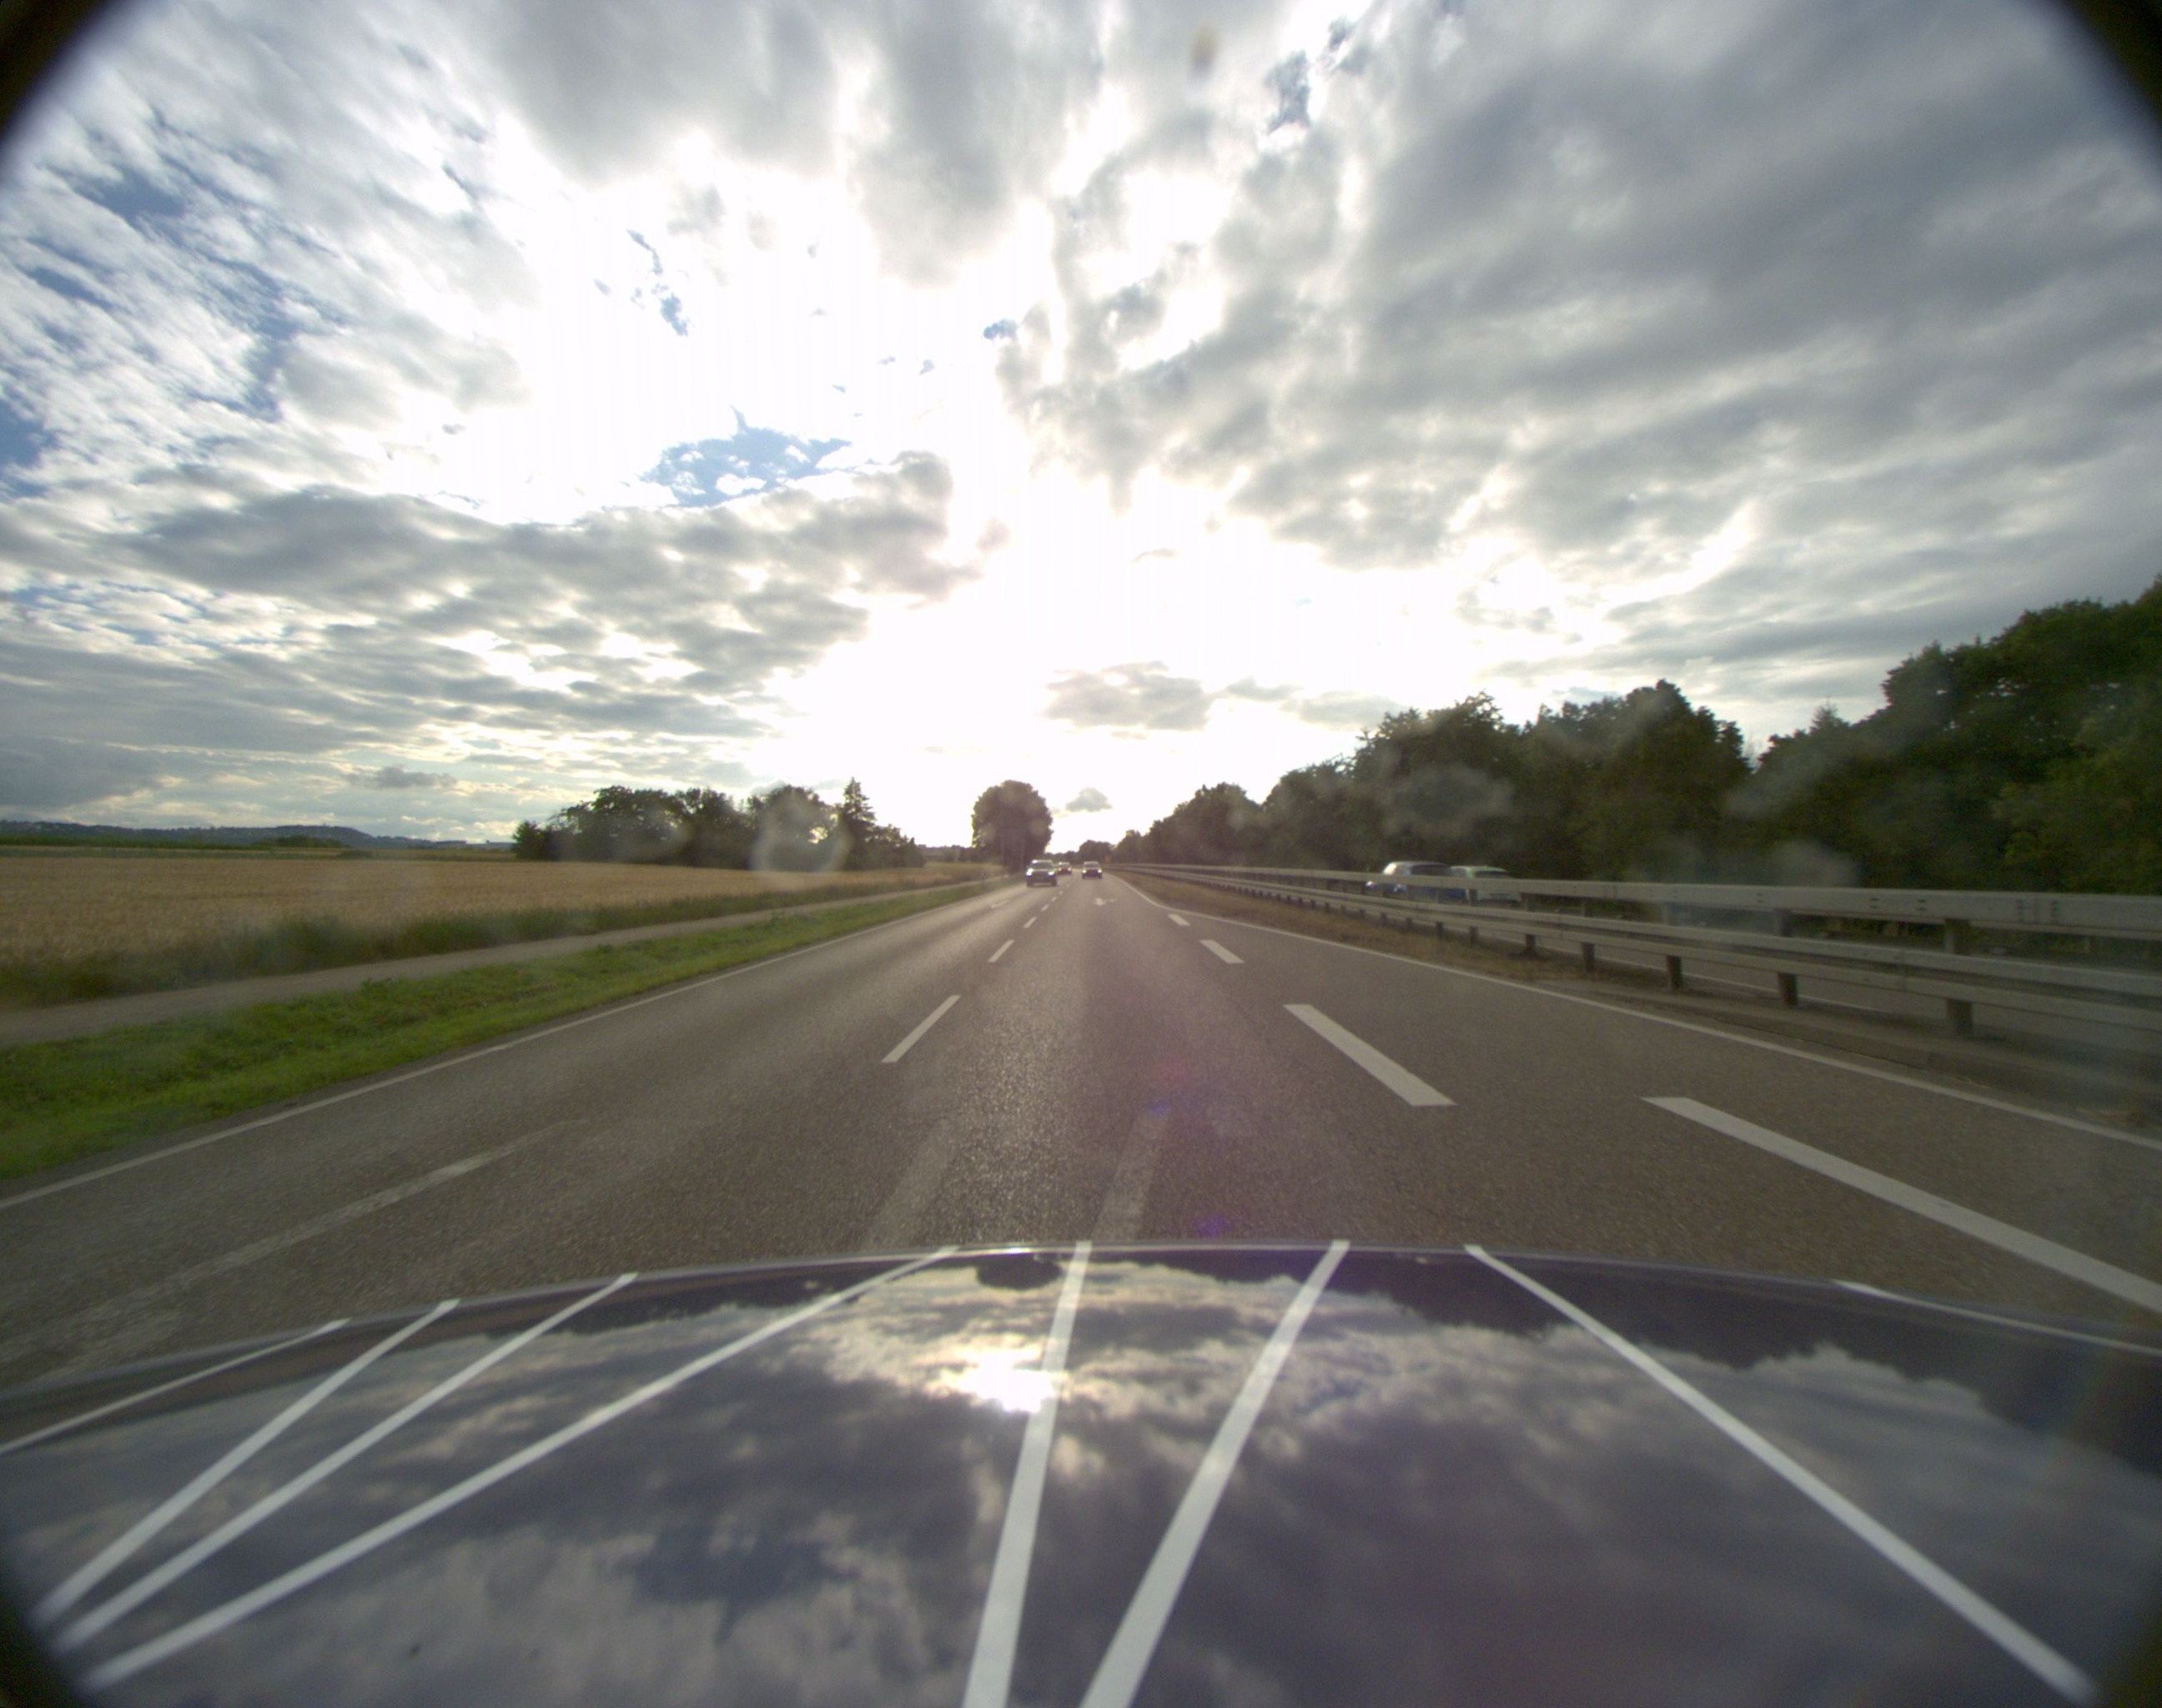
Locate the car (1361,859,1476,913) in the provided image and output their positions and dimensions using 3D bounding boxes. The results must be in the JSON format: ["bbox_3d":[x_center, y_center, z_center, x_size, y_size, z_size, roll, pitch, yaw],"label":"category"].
[{"bbox_3d":[9.809,0.885,22.405,1.773,1.459,3.712,0,0,0],"label":"car"}]

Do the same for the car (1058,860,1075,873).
[{"bbox_3d":[-1.703,1.452,89.724,1.823,1.409,4.000,-2,0,0],"label":"car"}]

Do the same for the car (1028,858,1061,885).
[{"bbox_3d":[-2.325,1.103,49.726,1.863,1.636,4.000,-2,0,1],"label":"car"}]

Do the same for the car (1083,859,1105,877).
[{"bbox_3d":[1.121,1.185,65.710,1.775,1.388,4.000,-2,0,-1],"label":"car"}]

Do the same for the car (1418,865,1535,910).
[{"bbox_3d":[13.552,1.086,26.344,1.763,1.404,4.459,0,0,0],"label":"car"}]
